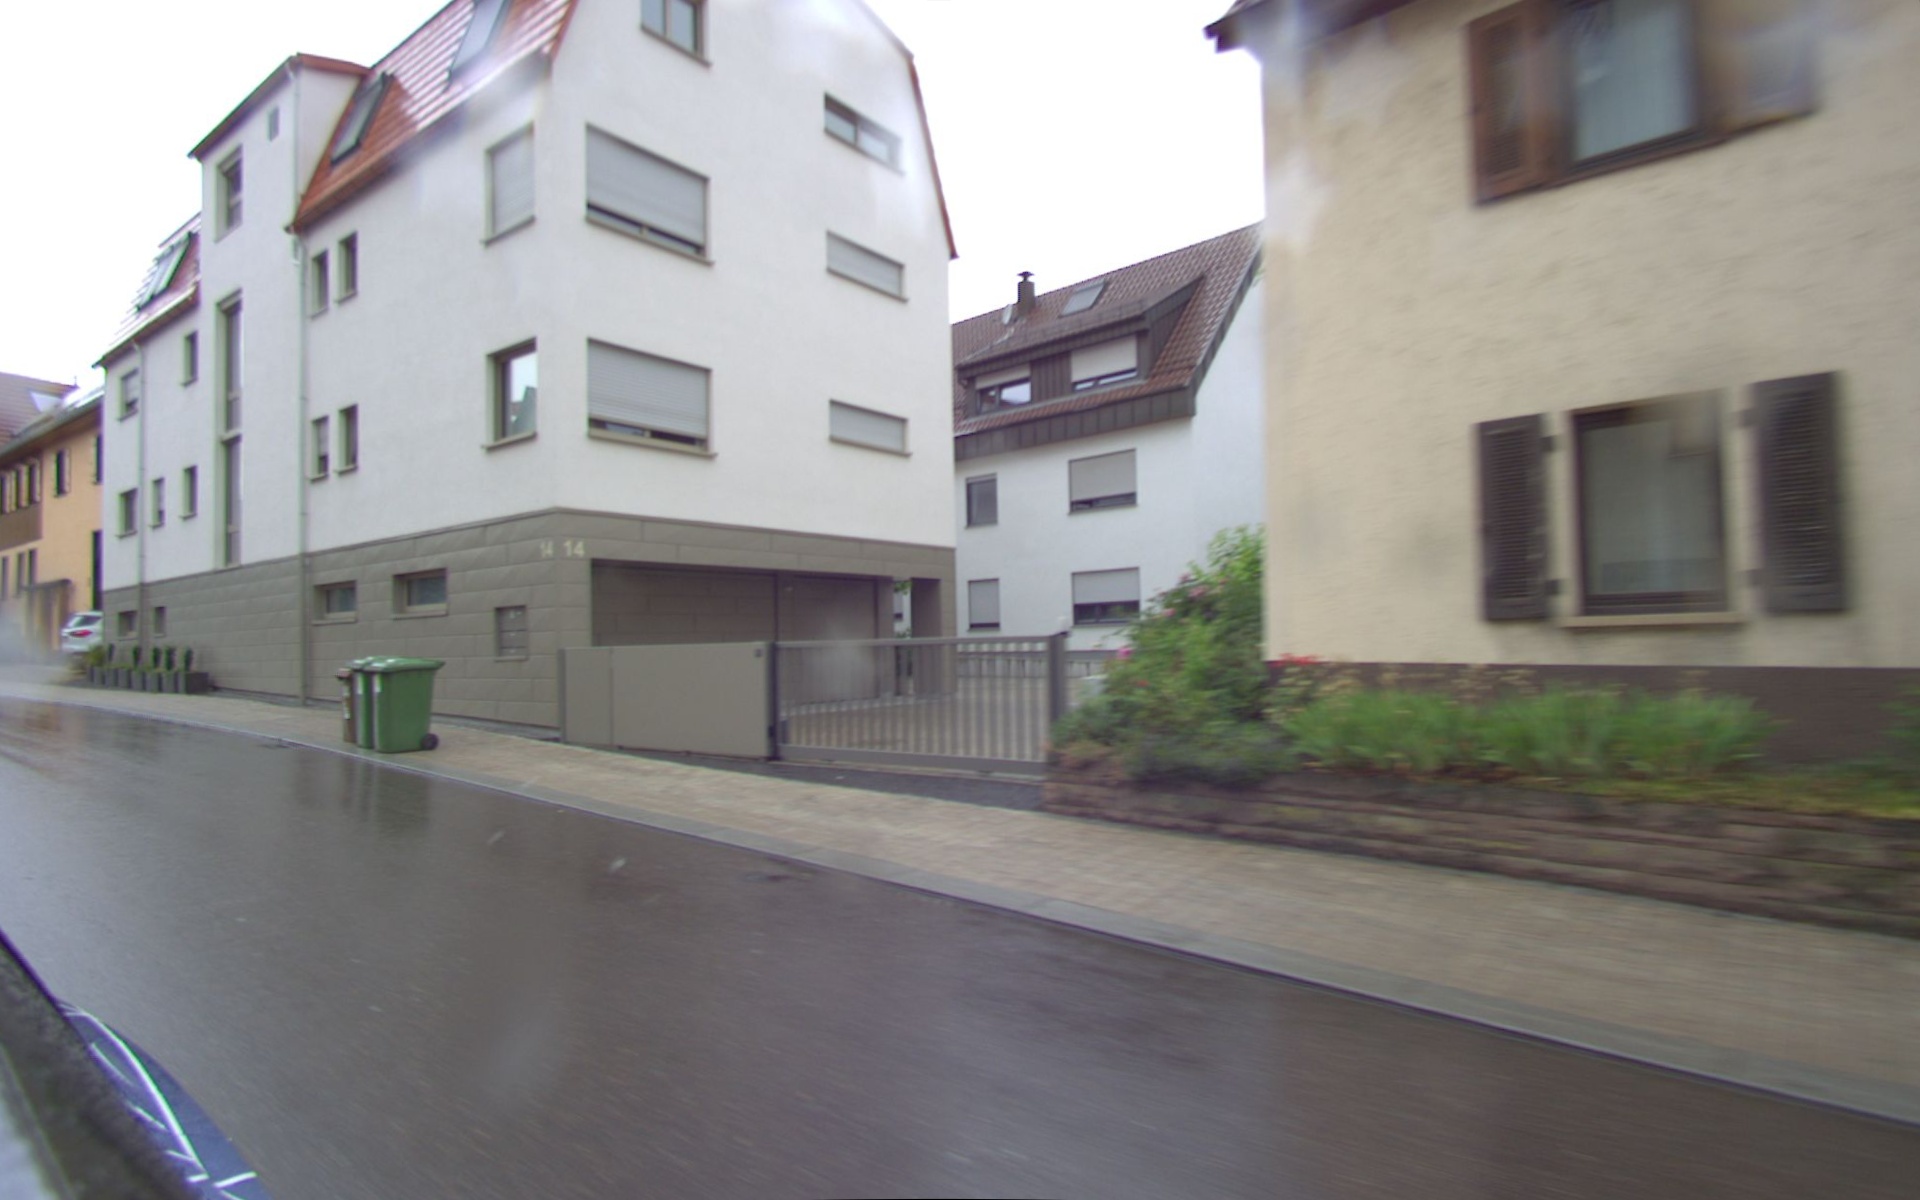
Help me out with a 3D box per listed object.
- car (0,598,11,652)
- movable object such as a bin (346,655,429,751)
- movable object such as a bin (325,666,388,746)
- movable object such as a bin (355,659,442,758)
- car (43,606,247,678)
[{"bbox_3d":[-37.516,1.037,36.379,1.987,1.994,4.489,-3,1,22],"label":"car"},{"bbox_3d":[-6.915,1.218,12.229,0.694,1.074,0.675,-1,-1,39],"label":"movable object such as a bin"},{"bbox_3d":[-7.493,1.302,12.569,0.578,0.929,0.501,-1,-1,37],"label":"movable object such as a bin"},{"bbox_3d":[-6.457,1.224,11.641,0.660,1.053,0.675,-1,-1,39],"label":"movable object such as a bin"},{"bbox_3d":[-22.340,1.100,27.880,1.872,1.682,3.957,-1,1,32],"label":"car"}]
